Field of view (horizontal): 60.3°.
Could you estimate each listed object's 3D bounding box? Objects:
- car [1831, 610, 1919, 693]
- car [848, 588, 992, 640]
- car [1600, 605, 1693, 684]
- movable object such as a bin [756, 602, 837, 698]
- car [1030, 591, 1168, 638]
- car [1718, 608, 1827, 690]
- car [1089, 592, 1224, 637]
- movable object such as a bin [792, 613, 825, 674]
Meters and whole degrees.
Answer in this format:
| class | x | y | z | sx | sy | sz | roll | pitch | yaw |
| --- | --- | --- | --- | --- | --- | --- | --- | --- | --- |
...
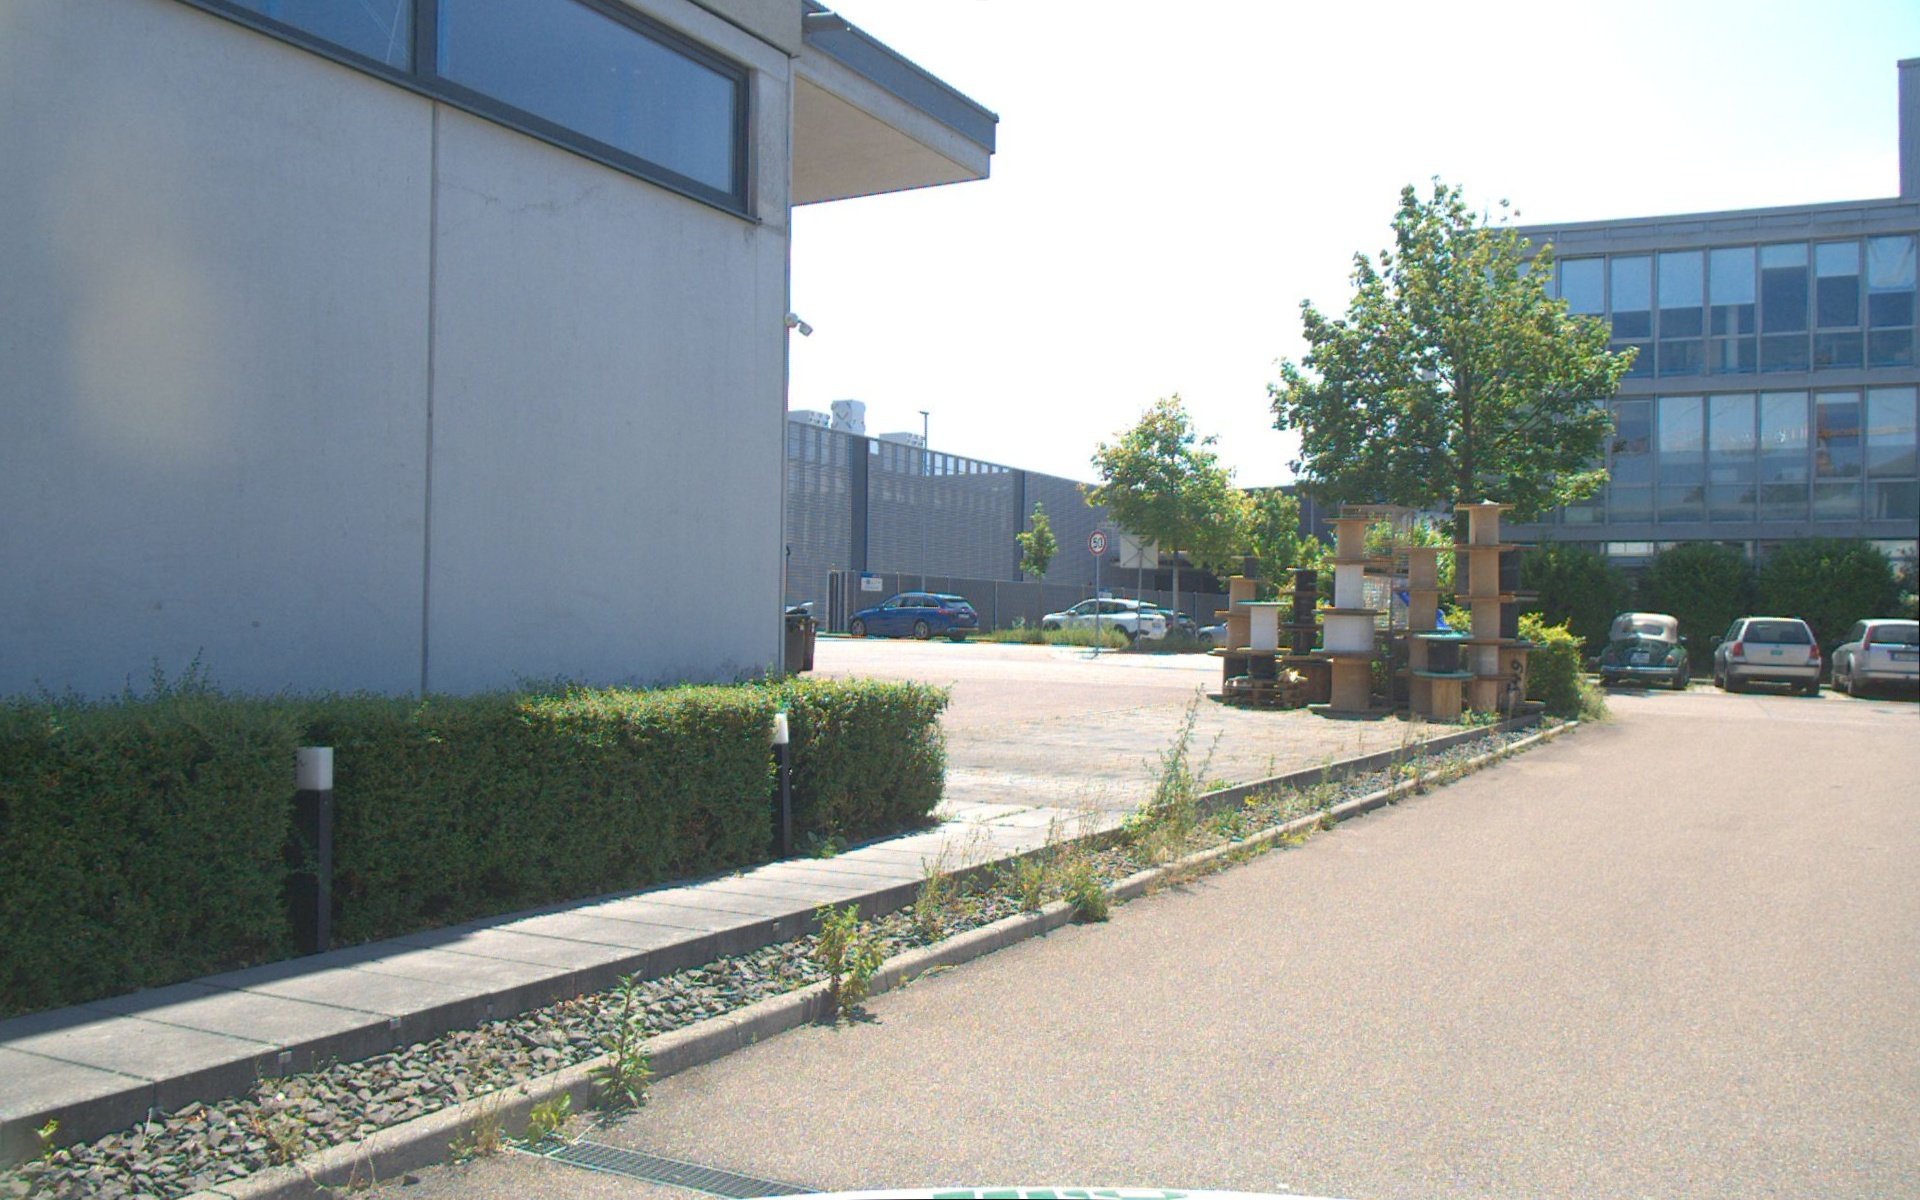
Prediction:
| class | x | y | z | sx | sy | sz | roll | pitch | yaw |
| --- | --- | --- | --- | --- | --- | --- | --- | --- | --- |
| car | 18.387 | 0.980 | 32.651 | 1.729 | 1.474 | 3.653 | 2 | 1 | 23 |
| car | -1.304 | 0.412 | 52.145 | 4.436 | 1.517 | 1.987 | 2 | 1 | 43 |
| car | 14.193 | 0.866 | 34.110 | 1.511 | 1.474 | 3.650 | 2 | 1 | 26 |
| movable object such as a bin | -2.400 | 0.723 | 24.299 | 0.797 | 1.368 | 0.881 | 0 | -1 | 34 |
| car | 4.977 | 0.496 | 59.646 | 4.770 | 1.517 | 1.987 | 2 | 1 | 43 |
| car | 16.287 | 0.931 | 33.275 | 1.696 | 1.474 | 3.653 | 2 | 1 | 23 |
| car | 7.278 | 0.507 | 61.654 | 4.770 | 1.517 | 1.987 | 2 | 1 | 43 |
| movable object such as a bin | -2.674 | 0.760 | 29.174 | 0.565 | 1.054 | 0.425 | 1 | -1 | -5 |
